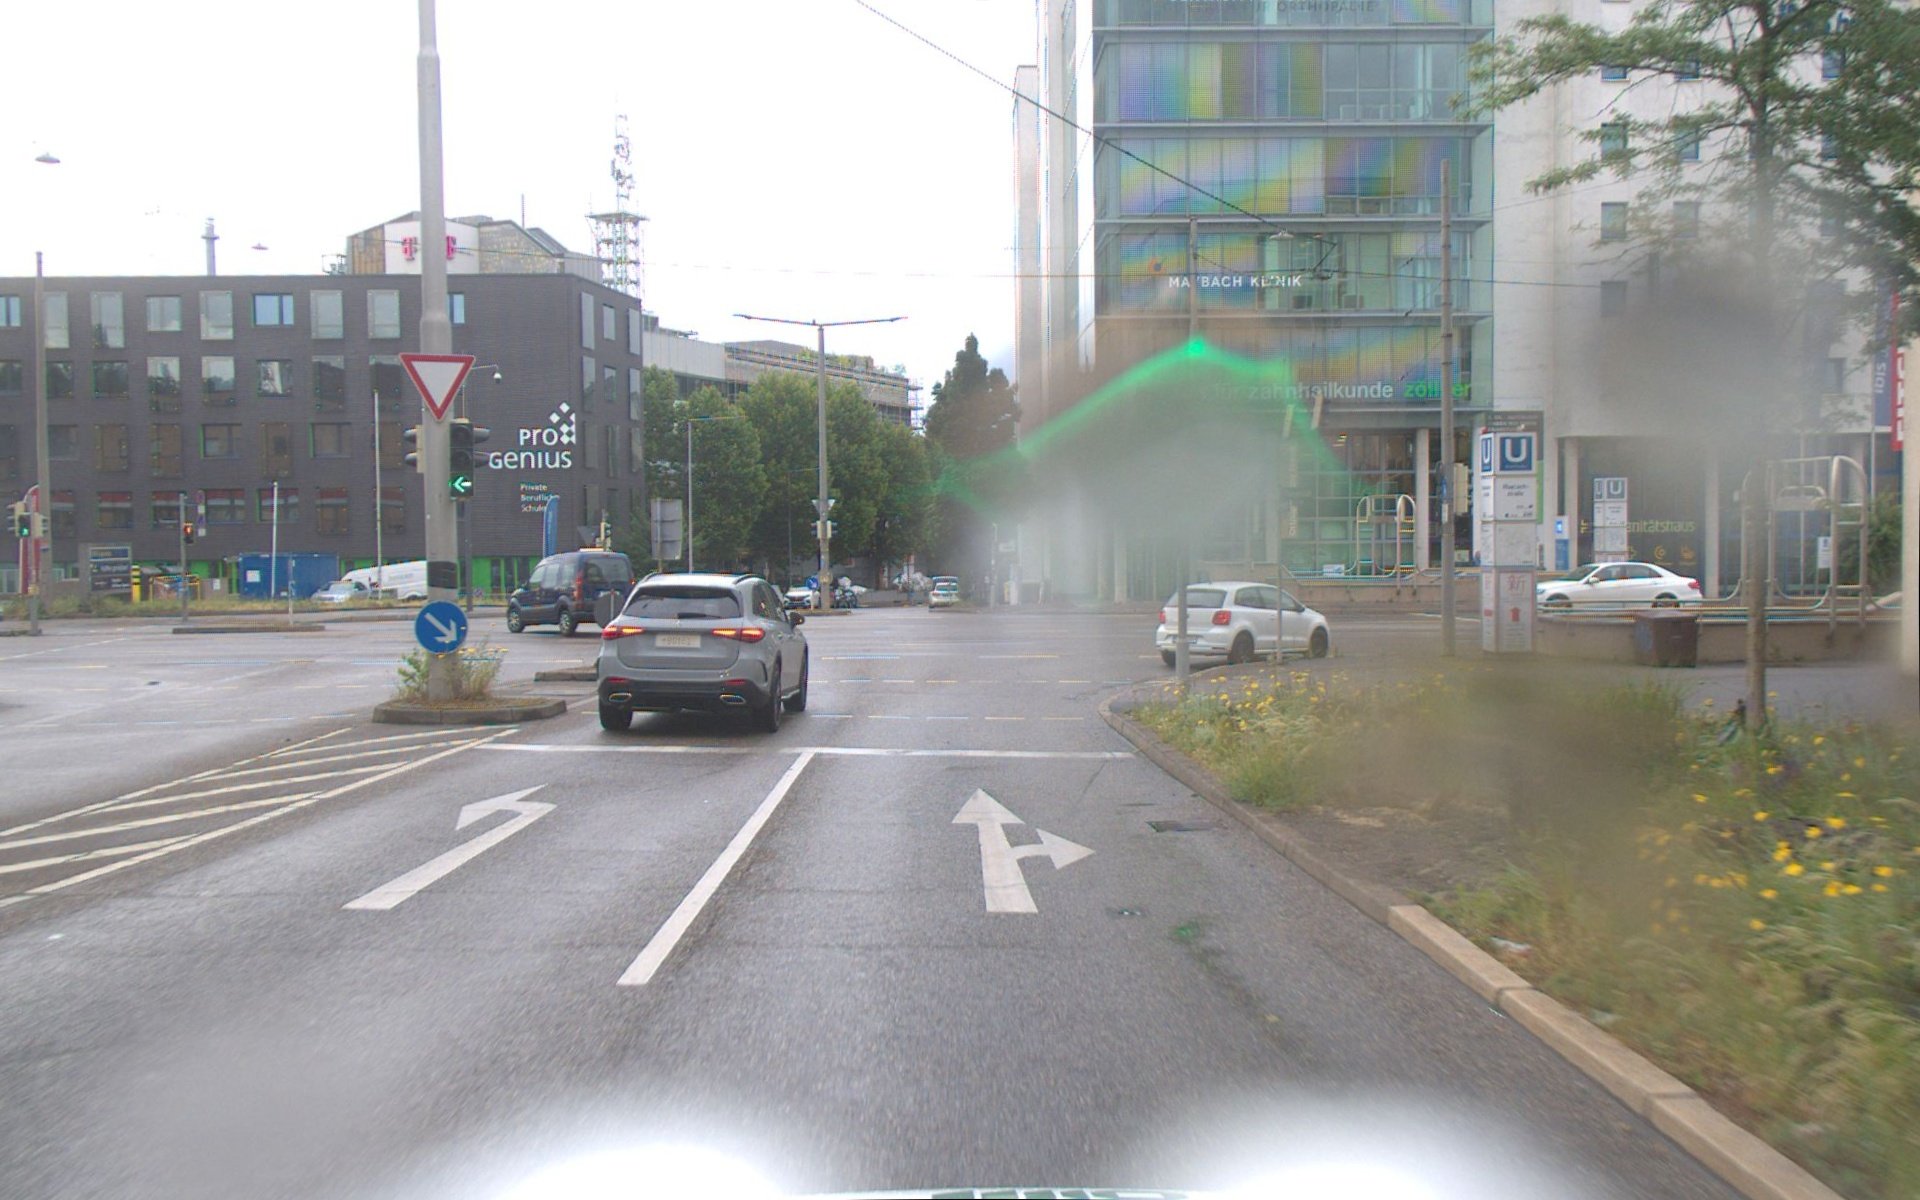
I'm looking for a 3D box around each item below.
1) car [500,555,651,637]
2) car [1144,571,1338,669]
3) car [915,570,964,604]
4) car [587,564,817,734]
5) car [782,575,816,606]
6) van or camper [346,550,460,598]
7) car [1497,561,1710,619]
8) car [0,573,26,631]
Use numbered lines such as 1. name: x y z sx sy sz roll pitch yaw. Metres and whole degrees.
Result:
1. car: -8.987 -0.119 38.470 1.841 1.799 4.072 -1 1 -39
2. car: 5.100 0.306 29.719 1.648 1.499 3.754 2 4 44
3. car: -1.127 -0.698 88.223 1.958 1.747 3.990 1 0 -11
4. car: -2.759 0.464 18.625 1.869 1.660 4.211 1 1 0
5. car: -11.015 -0.629 113.161 1.953 2.049 3.999 1 0 -1
6. van or camper: -30.015 -1.389 89.273 5.222 2.410 2.738 1 0 -2
7. car: 16.670 -0.270 42.971 4.847 1.411 1.823 0 2 -2
8. car: -28.634 -0.005 45.762 4.386 1.606 1.999 2 0 -2
